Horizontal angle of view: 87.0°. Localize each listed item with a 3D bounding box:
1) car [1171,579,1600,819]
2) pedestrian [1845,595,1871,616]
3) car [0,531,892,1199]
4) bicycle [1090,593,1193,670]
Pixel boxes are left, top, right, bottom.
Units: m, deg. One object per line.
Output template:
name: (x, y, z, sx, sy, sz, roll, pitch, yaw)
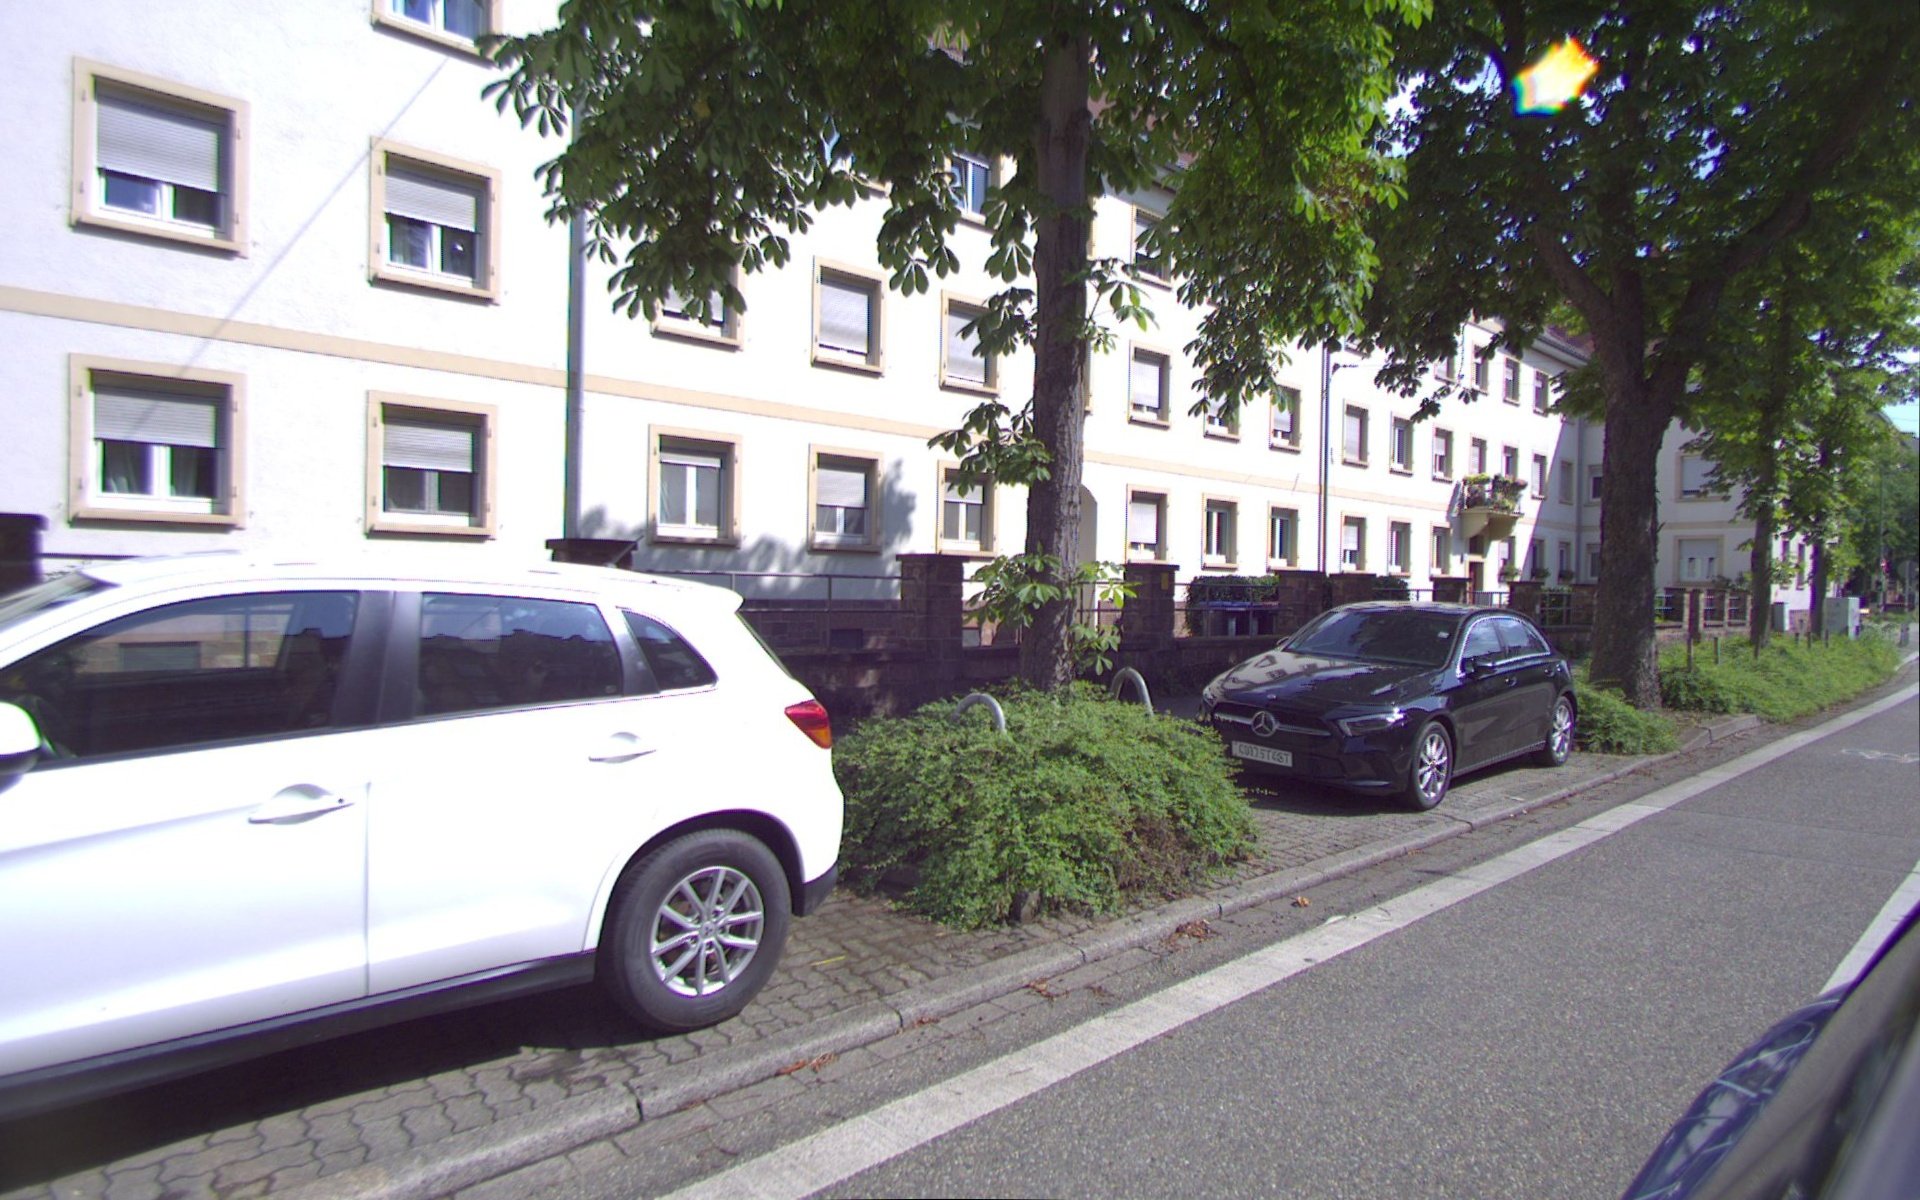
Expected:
car: (3.748, 0.616, 8.524, 4.213, 1.540, 1.663, 0, 1, -41)
pedestrian: (56.351, 0.366, 63.502, 1.157, 1.217, 0.893, 6, 3, 42)
car: (-2.414, 0.628, 3.262, 4.173, 1.601, 1.745, 0, 1, -40)
bicycle: (2.916, 0.474, 16.186, 1.769, 1.149, 0.626, 0, 1, -40)
